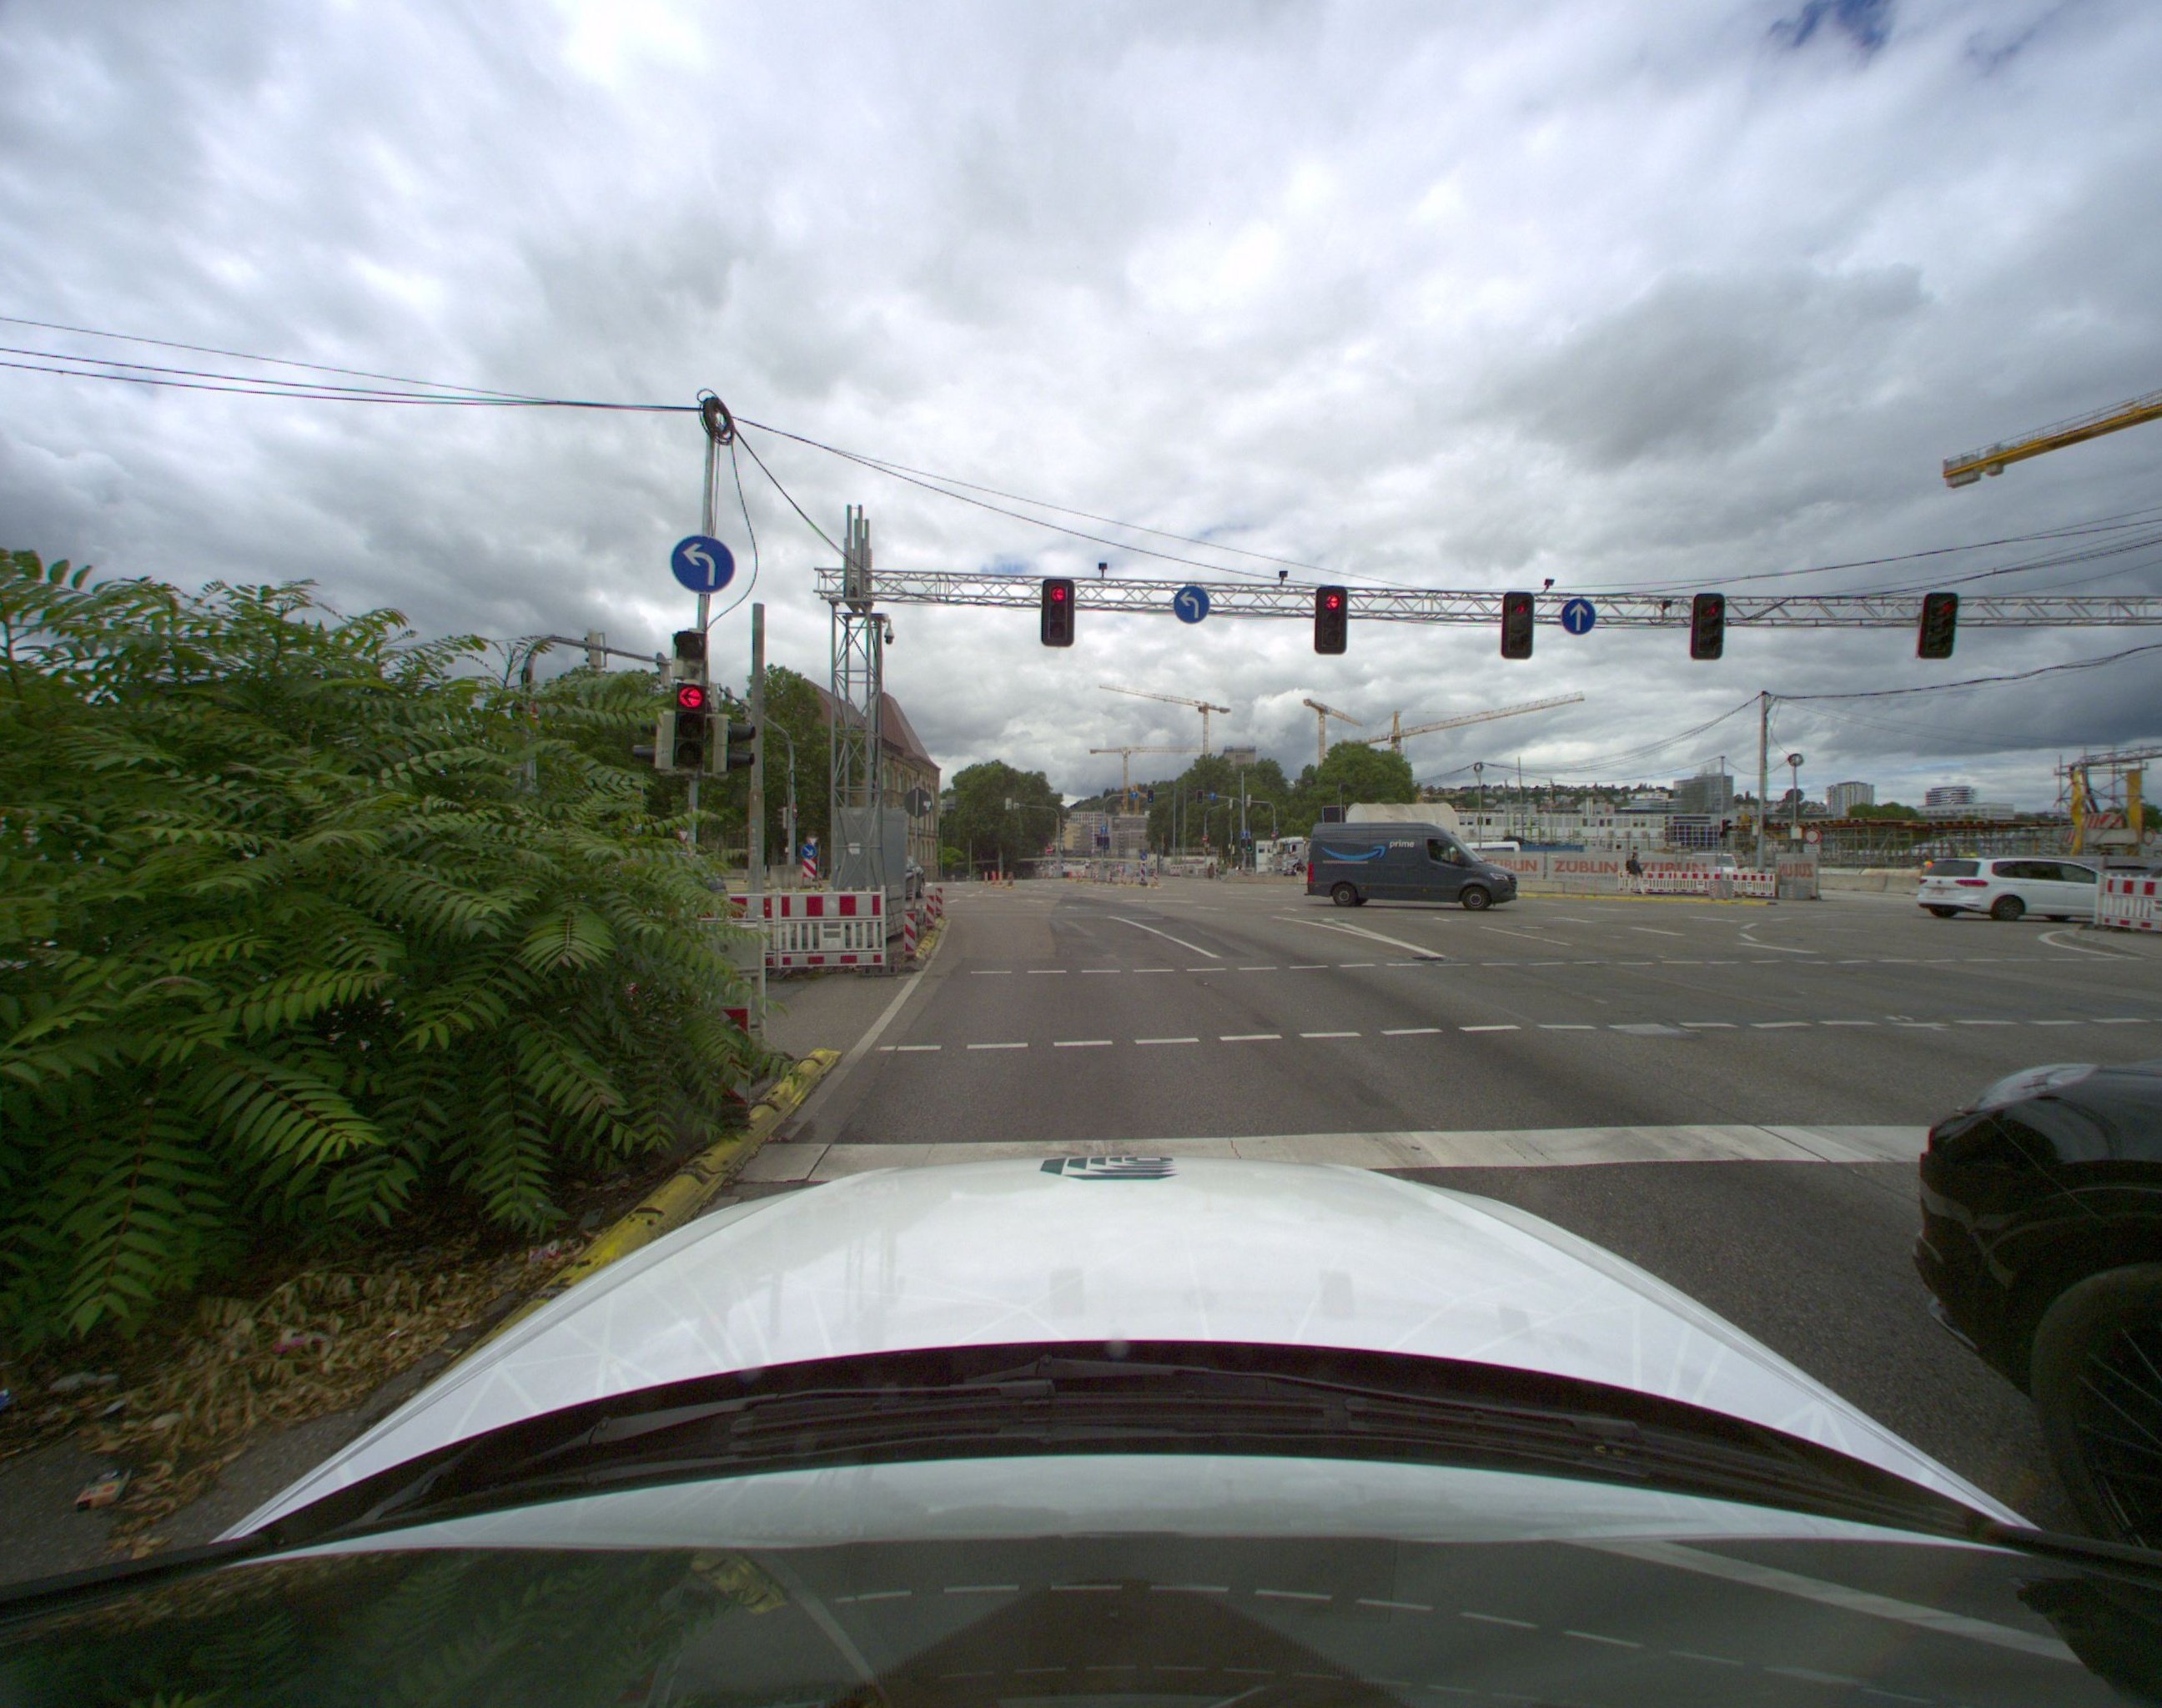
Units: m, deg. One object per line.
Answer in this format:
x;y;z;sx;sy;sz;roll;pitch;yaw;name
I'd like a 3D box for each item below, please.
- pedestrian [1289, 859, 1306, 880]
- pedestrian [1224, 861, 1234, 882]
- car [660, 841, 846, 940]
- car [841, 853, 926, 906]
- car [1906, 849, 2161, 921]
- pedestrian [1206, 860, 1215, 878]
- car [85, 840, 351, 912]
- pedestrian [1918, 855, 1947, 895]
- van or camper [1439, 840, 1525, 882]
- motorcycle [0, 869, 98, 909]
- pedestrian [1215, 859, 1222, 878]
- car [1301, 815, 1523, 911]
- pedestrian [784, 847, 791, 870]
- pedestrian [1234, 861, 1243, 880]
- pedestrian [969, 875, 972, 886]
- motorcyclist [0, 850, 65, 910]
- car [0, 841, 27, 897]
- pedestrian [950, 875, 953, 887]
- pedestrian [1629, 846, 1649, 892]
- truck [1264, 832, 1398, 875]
14.715;1.063;55.420;0.797;1.378;0.901;0;0;-12;pedestrian
12.255;1.448;67.388;0.726;1.689;0.678;0;0;1;pedestrian
-6.167;0.604;15.939;1.872;1.670;4.443;0;0;-1;car
-6.099;0.727;25.561;1.702;1.513;4.286;0;0;-1;car
24.454;0.755;20.975;4.410;1.736;1.886;0;0;3;car
11.828;1.356;74.144;0.726;1.689;0.678;0;0;1;pedestrian
-21.292;0.525;20.256;4.302;1.676;1.998;0;0;-3;car
38.415;0.955;36.746;0.651;1.795;0.617;0;0;-7;pedestrian
23.155;0.414;47.206;4.181;2.357;2.009;0;0;16;van or camper
-25.467;0.850;19.814;2.051;0.924;0.756;0;0;-4;motorcycle
12.550;1.325;74.143;0.564;1.689;0.472;0;0;1;pedestrian
9.887;0.241;24.547;5.936;2.594;2.077;0;0;32;car
-26.684;0.409;74.077;0.530;2.014;0.423;1;-1;-42;pedestrian
14.505;1.529;75.123;0.615;1.689;0.716;0;0;31;pedestrian
-21.577;5.183;159.339;0.522;2.014;0.567;0;0;2;pedestrian
-25.674;0.629;19.795;0.963;1.423;0.745;0;0;-4;motorcyclist
-34.112;0.436;23.586;4.302;1.676;1.998;0;0;-3;car
-21.729;4.574;136.705;0.522;2.014;0.567;0;0;2;pedestrian
24.695;0.659;36.057;0.645;2.013;0.520;0;0;27;pedestrian
25.040;-0.043;81.593;13.062;4.041;3.926;0;0;-18;truck
